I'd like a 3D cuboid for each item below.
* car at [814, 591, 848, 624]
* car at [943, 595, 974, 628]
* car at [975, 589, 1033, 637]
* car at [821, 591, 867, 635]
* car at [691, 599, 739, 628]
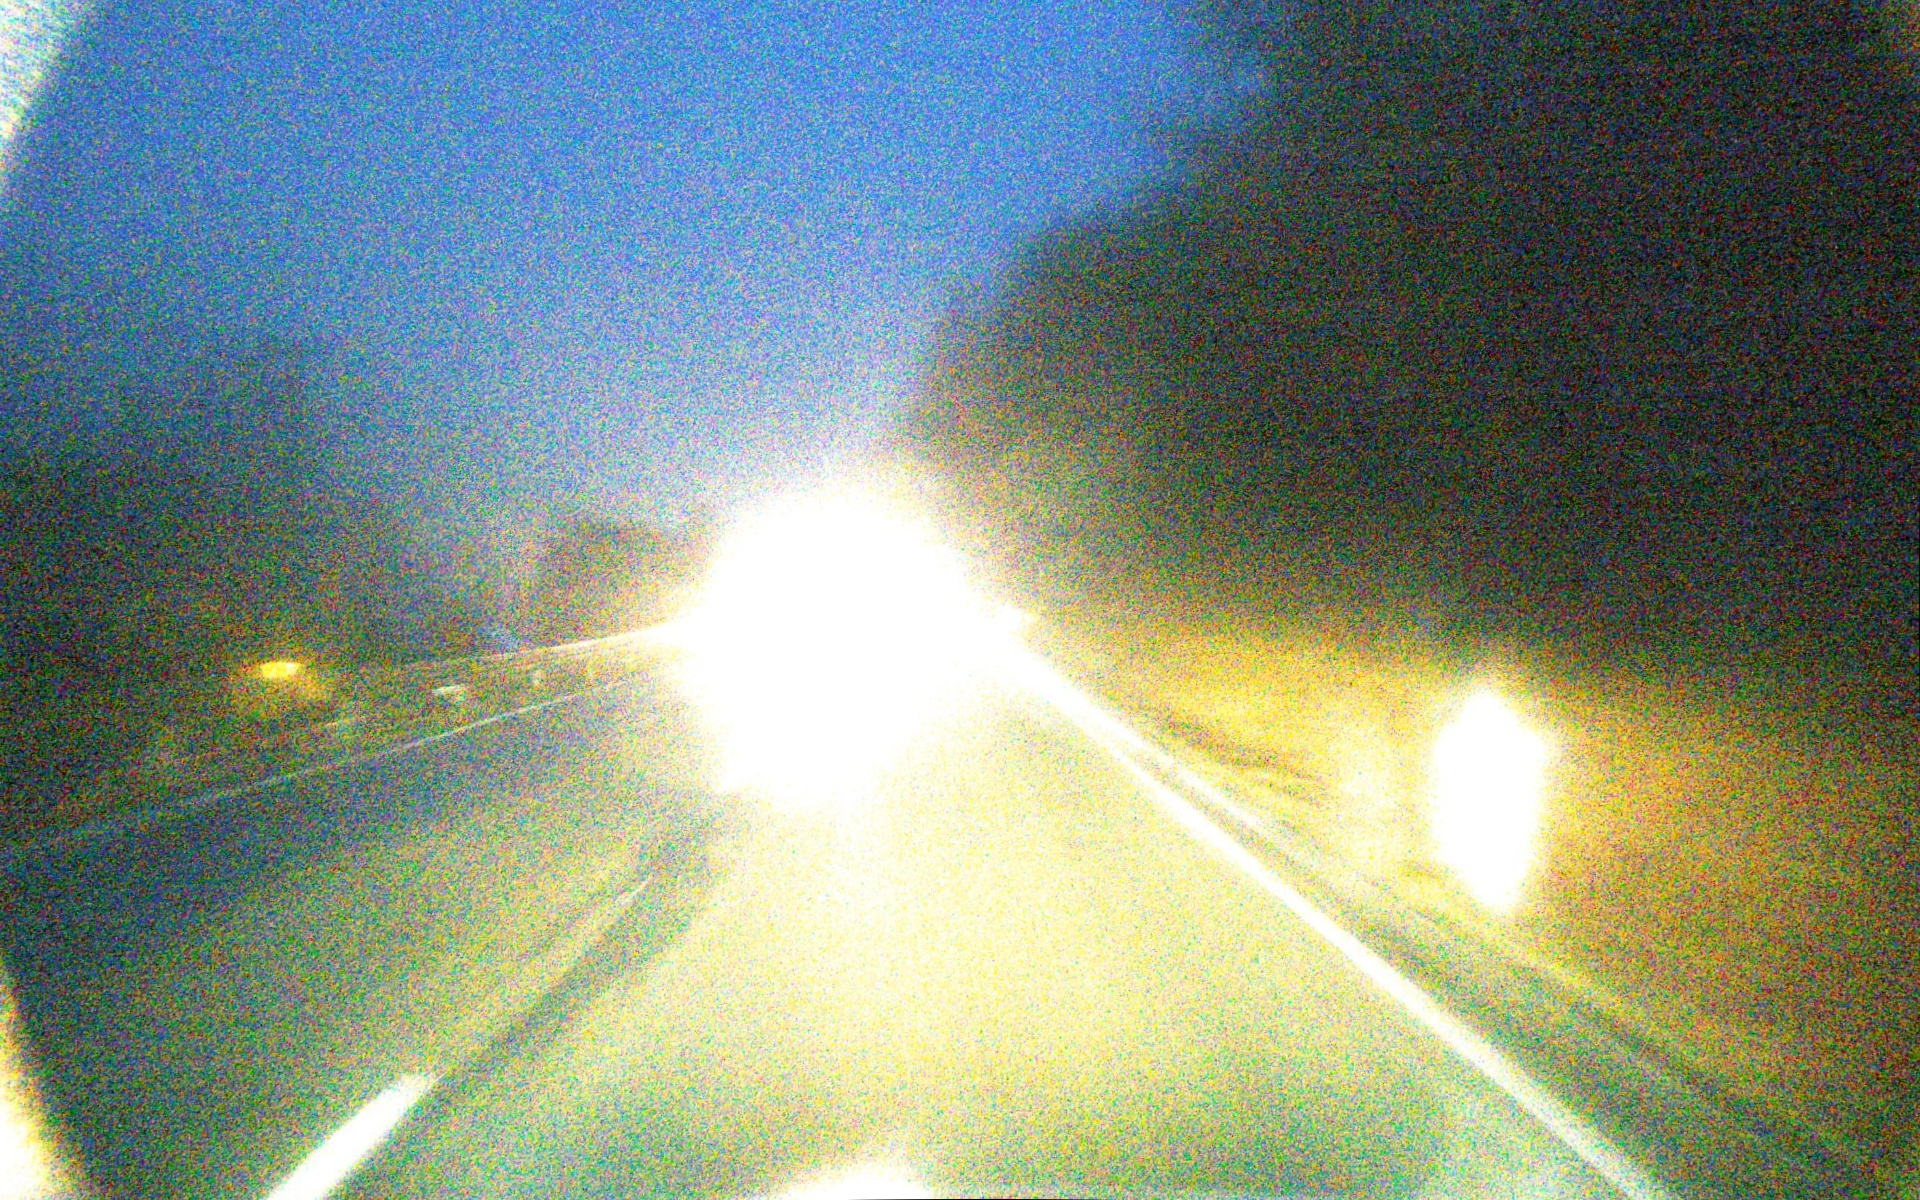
[{"bbox_3d":[-8.400,0.481,108.062,1.953,2.049,3.999,1,0,-1],"label":"car"},{"bbox_3d":[-0.111,0.750,108.372,1.953,2.049,3.999,1,0,-1],"label":"car"},{"bbox_3d":[1.519,0.435,58.251,1.952,1.646,4.000,0,0,0],"label":"car"},{"bbox_3d":[-5.629,0.600,80.547,1.953,2.049,3.999,1,0,-1],"label":"car"},{"bbox_3d":[-13.185,0.708,89.191,1.953,1.473,4.429,1,0,0],"label":"car"}]
